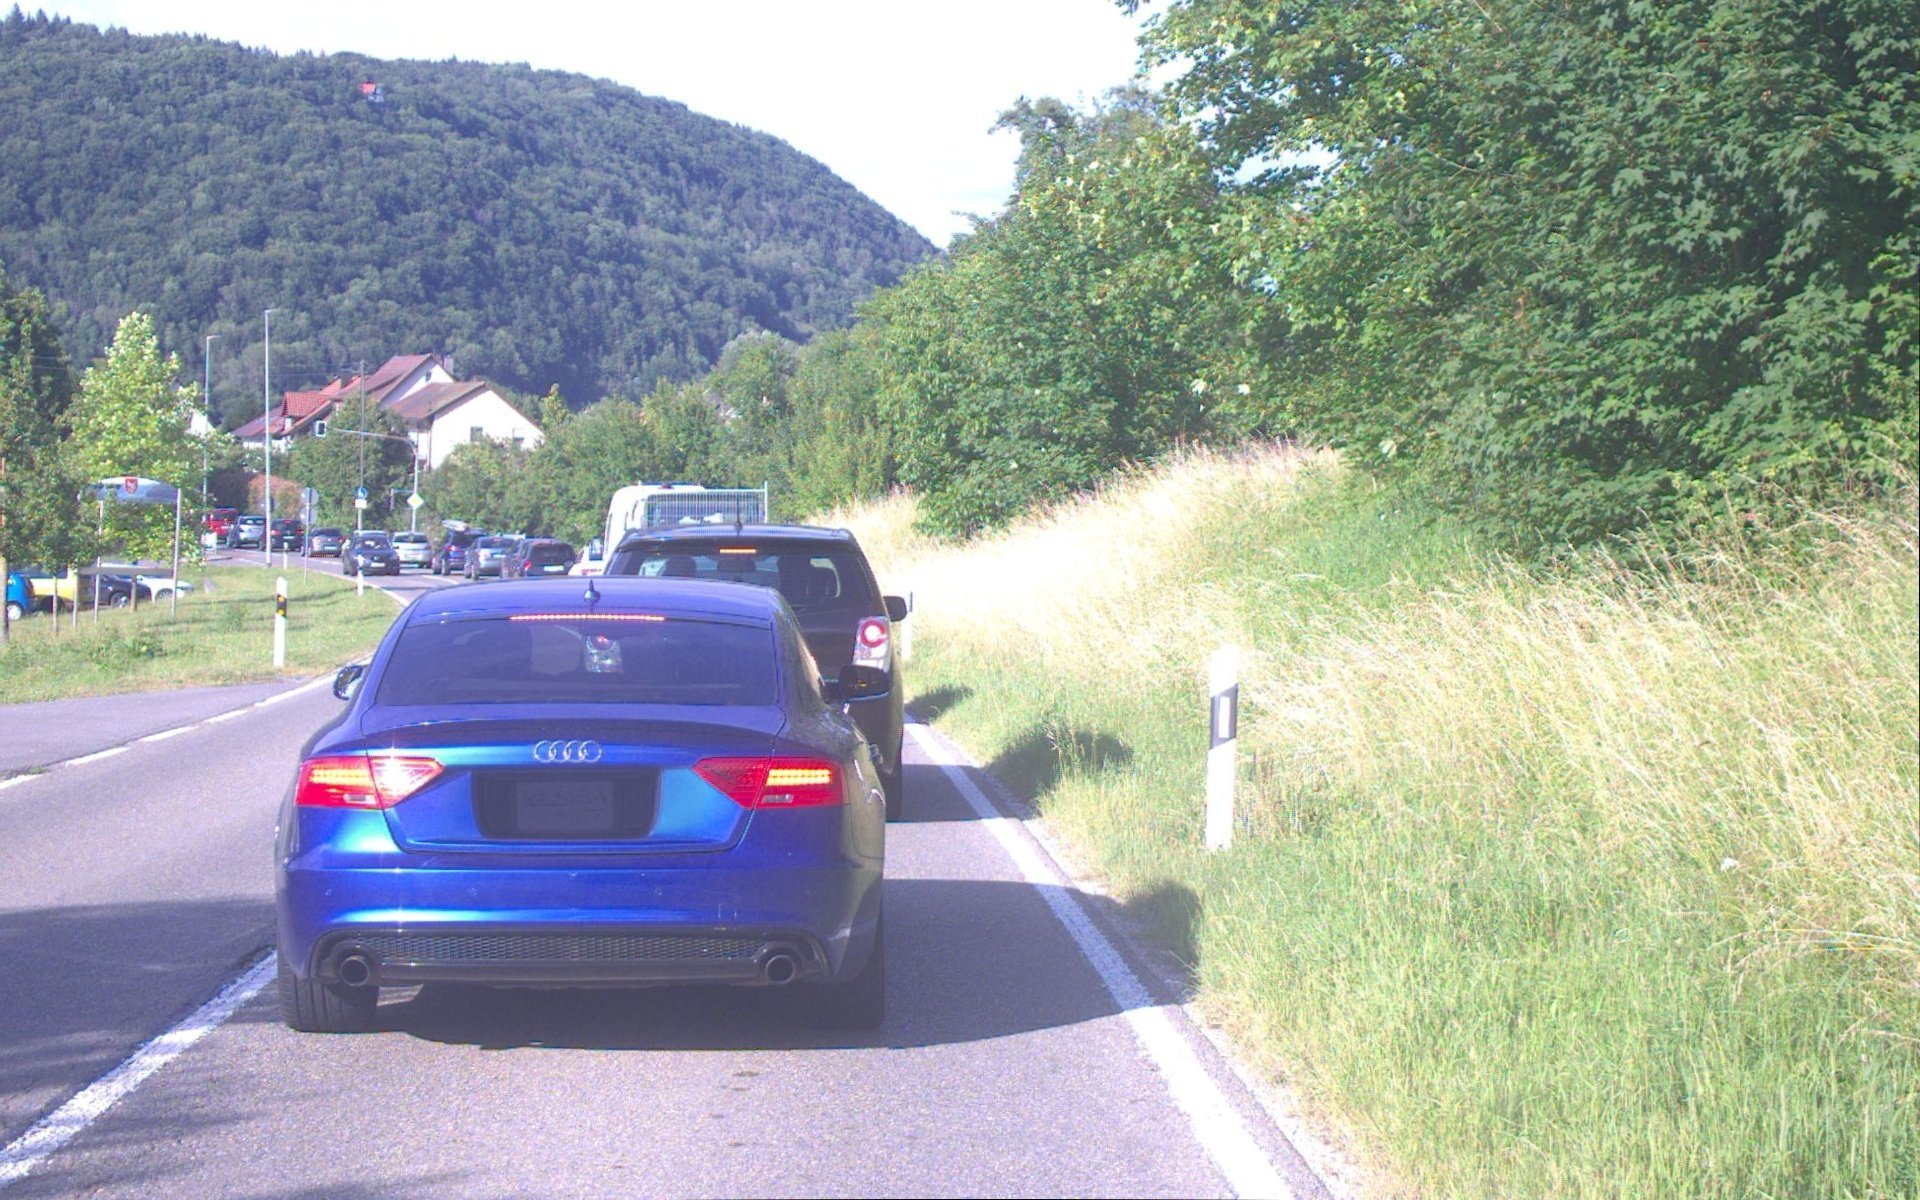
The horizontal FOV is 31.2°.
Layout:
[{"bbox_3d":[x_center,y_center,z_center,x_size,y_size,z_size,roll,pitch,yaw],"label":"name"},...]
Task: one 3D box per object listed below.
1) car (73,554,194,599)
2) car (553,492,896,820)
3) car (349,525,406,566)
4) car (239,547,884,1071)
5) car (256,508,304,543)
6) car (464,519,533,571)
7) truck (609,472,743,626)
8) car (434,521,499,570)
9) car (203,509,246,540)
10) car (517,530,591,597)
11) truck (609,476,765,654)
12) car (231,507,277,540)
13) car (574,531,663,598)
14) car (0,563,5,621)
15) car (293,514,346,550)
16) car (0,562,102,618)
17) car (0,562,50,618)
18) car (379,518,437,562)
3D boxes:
[{"bbox_3d":[-29.685,-0.837,123.504,3.986,1.573,1.753,1,0,-4],"label":"car"},{"bbox_3d":[-1.259,0.270,19.673,1.754,1.675,3.847,1,1,-1],"label":"car"},{"bbox_3d":[-20.877,-1.959,123.148,1.703,1.425,4.052,1,1,-14],"label":"car"},{"bbox_3d":[-1.138,0.557,11.371,1.754,1.425,3.847,1,1,-1],"label":"car"},{"bbox_3d":[-35.065,-3.830,177.240,1.845,1.706,4.001,1,1,-20],"label":"car"},{"bbox_3d":[-15.638,-1.848,116.429,1.845,1.706,4.001,1,1,-14],"label":"car"},{"bbox_3d":[-5.087,-0.891,61.239,2.229,2.561,6.709,1,1,-5],"label":"truck"},{"bbox_3d":[-17.810,-1.944,123.917,1.845,1.706,4.001,1,1,-15],"label":"car"},{"bbox_3d":[-42.007,-4.292,196.238,1.845,1.706,4.001,1,1,-20],"label":"car"},{"bbox_3d":[-10.767,-0.972,91.065,1.845,1.706,4.001,1,1,-8],"label":"car"},{"bbox_3d":[-4.127,-0.535,52.898,2.229,2.561,6.104,1,1,-3],"label":"truck"},{"bbox_3d":[-38.256,-4.151,186.322,1.845,1.706,4.001,1,1,-20],"label":"car"},{"bbox_3d":[-7.795,-0.811,78.143,1.845,1.477,4.001,1,1,-8],"label":"car"},{"bbox_3d":[-30.216,-0.259,100.663,3.986,1.705,2.000,1,0,-4],"label":"car"},{"bbox_3d":[-30.445,-3.221,163.372,1.845,1.706,4.001,1,1,-20],"label":"car"},{"bbox_3d":[-29.417,-0.331,109.064,3.986,1.705,2.000,1,0,-4],"label":"car"},{"bbox_3d":[-30.387,-0.317,106.448,3.986,1.705,2.000,1,0,-4],"label":"car"},{"bbox_3d":[-22.033,-2.366,137.175,1.845,1.706,4.001,1,1,-15],"label":"car"}]
